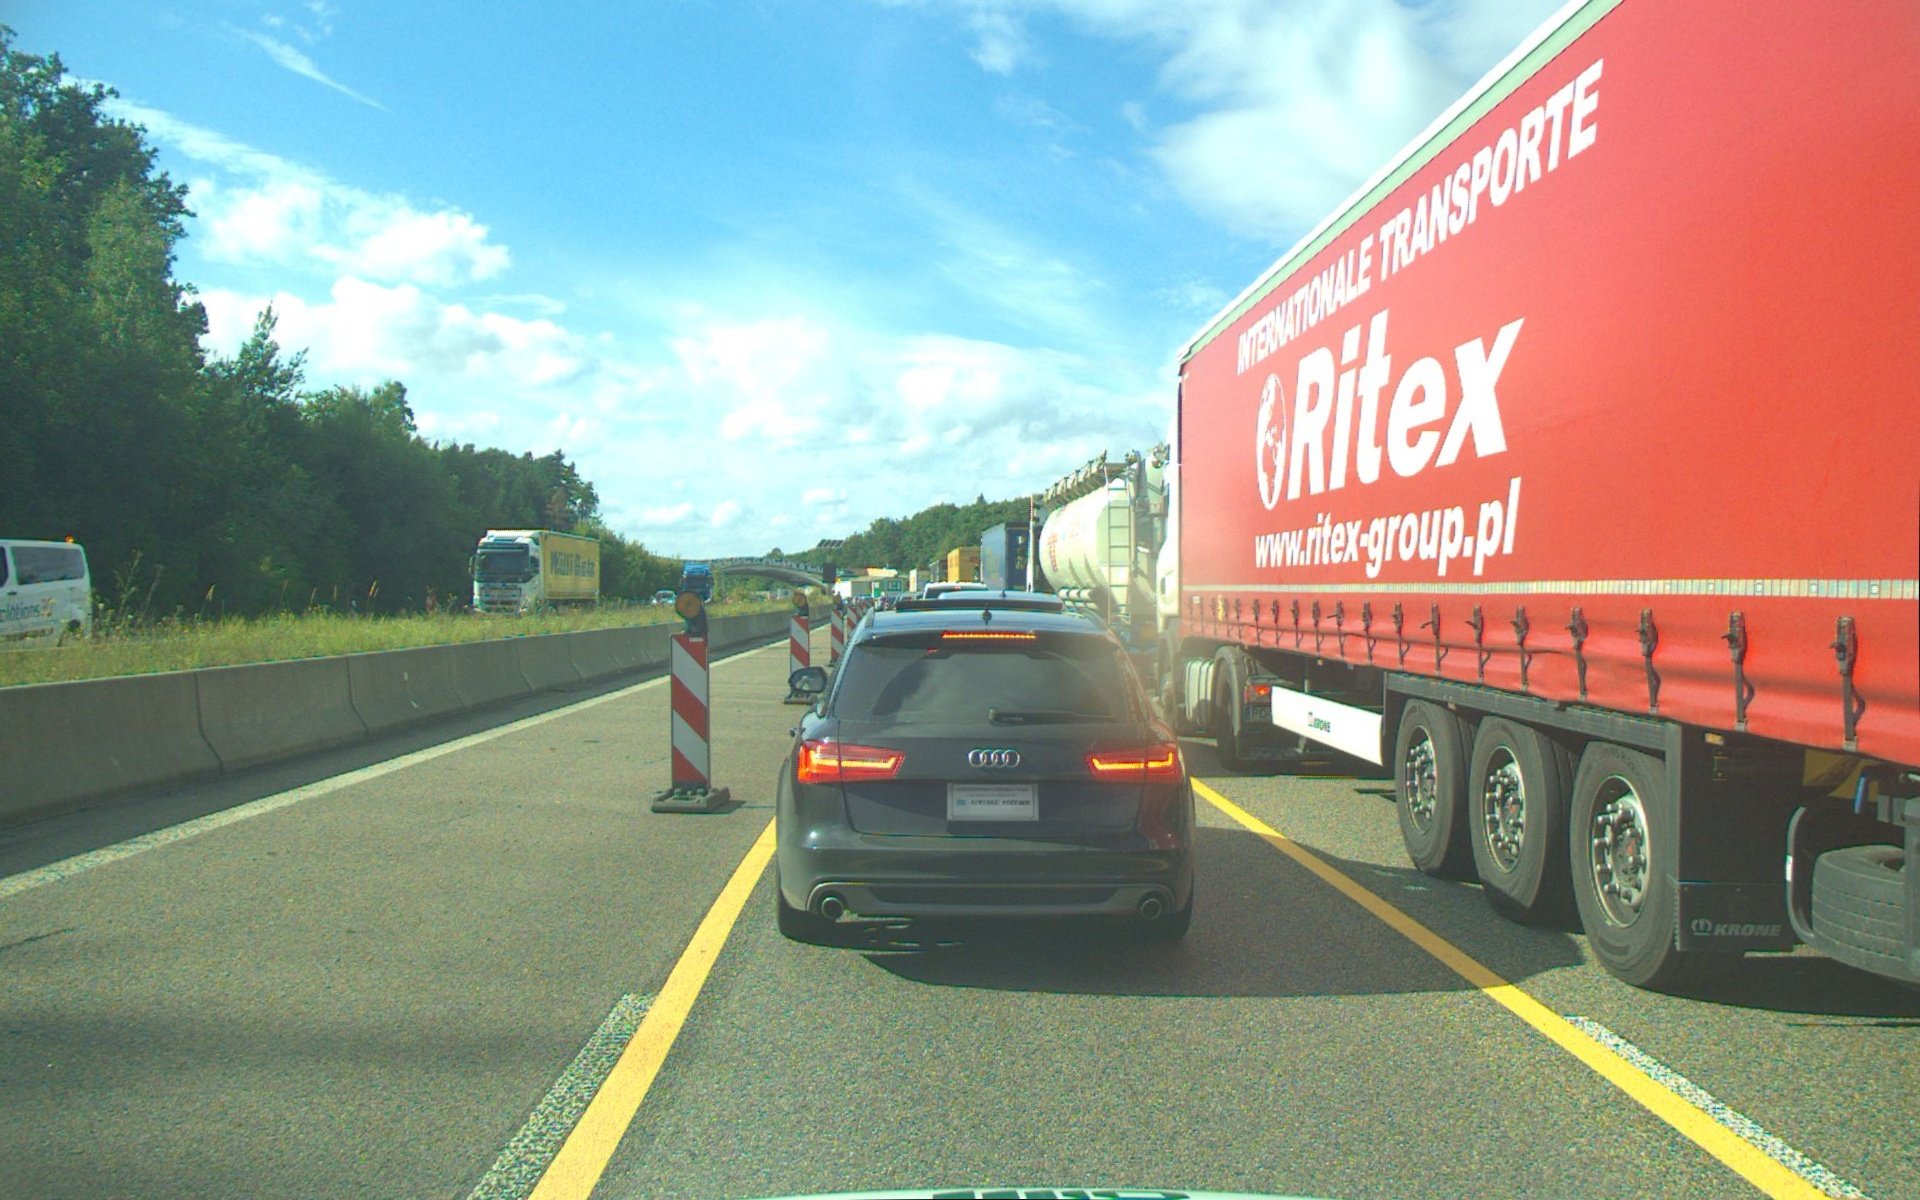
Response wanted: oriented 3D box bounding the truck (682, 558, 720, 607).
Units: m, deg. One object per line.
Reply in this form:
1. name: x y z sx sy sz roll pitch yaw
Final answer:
1. truck: -23.093 -1.506 147.584 2.584 4.262 5.466 1 0 -1

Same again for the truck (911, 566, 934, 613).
1. truck: -3.532 -0.941 156.326 2.094 4.332 7.069 1 0 -1

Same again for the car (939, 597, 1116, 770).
1. car: 0.565 0.726 15.859 1.493 1.464 3.284 1 0 -1

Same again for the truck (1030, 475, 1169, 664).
1. truck: 3.136 -0.638 38.617 2.605 4.041 5.777 1 0 -1

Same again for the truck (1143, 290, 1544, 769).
1. truck: 3.558 -0.613 16.800 2.614 4.029 5.709 0 0 -2

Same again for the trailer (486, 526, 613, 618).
1. trailer: -19.482 -1.171 79.577 2.770 3.991 13.937 1 0 -1

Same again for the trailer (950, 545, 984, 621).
1. trailer: 0.329 -0.868 90.199 1.584 3.987 6.487 1 0 -2

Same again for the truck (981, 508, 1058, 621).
1. truck: 2.419 -1.384 69.463 2.749 4.446 7.790 1 0 -1

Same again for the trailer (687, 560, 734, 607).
1. trailer: -23.182 -1.505 154.414 2.566 4.214 13.369 1 0 -1

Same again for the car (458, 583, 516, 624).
1. car: -24.901 0.200 87.191 1.953 2.049 3.999 1 0 -1

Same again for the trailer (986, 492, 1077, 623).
1. trailer: 2.565 -1.432 62.382 2.748 4.490 10.430 1 0 -1

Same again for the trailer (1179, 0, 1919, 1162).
1. trailer: 3.726 -0.561 10.201 2.645 4.038 13.413 0 0 -1

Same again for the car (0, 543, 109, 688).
1. car: -14.658 0.208 24.394 1.954 2.049 4.827 1 0 -4

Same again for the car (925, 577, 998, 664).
1. car: 0.016 0.457 37.399 1.549 1.869 3.111 1 0 -1

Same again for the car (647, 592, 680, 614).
1. car: -21.821 0.229 121.883 1.751 1.588 3.999 1 0 -1

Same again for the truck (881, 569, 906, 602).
1. truck: -8.797 -1.886 218.938 3.238 4.248 9.696 1 0 -3

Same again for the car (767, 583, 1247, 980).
1. car: 0.153 0.701 8.272 1.811 1.489 3.999 1 0 -1

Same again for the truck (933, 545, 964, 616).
1. truck: -0.876 -1.417 123.374 1.953 5.000 9.558 1 0 -2

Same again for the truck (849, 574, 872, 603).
1. truck: -15.141 -1.741 251.167 3.239 4.248 9.694 1 0 -4

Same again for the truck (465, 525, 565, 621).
1. truck: -19.382 -1.124 72.408 2.769 3.977 5.947 1 0 -1

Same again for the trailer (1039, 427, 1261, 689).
1. trailer: 3.245 -0.647 31.955 2.590 4.012 12.595 1 0 -1

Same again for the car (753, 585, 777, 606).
1. car: -18.551 -0.400 157.612 1.953 1.982 3.998 1 0 -2

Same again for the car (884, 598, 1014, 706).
1. car: -0.172 0.705 23.964 1.716 1.421 3.607 1 0 -1
